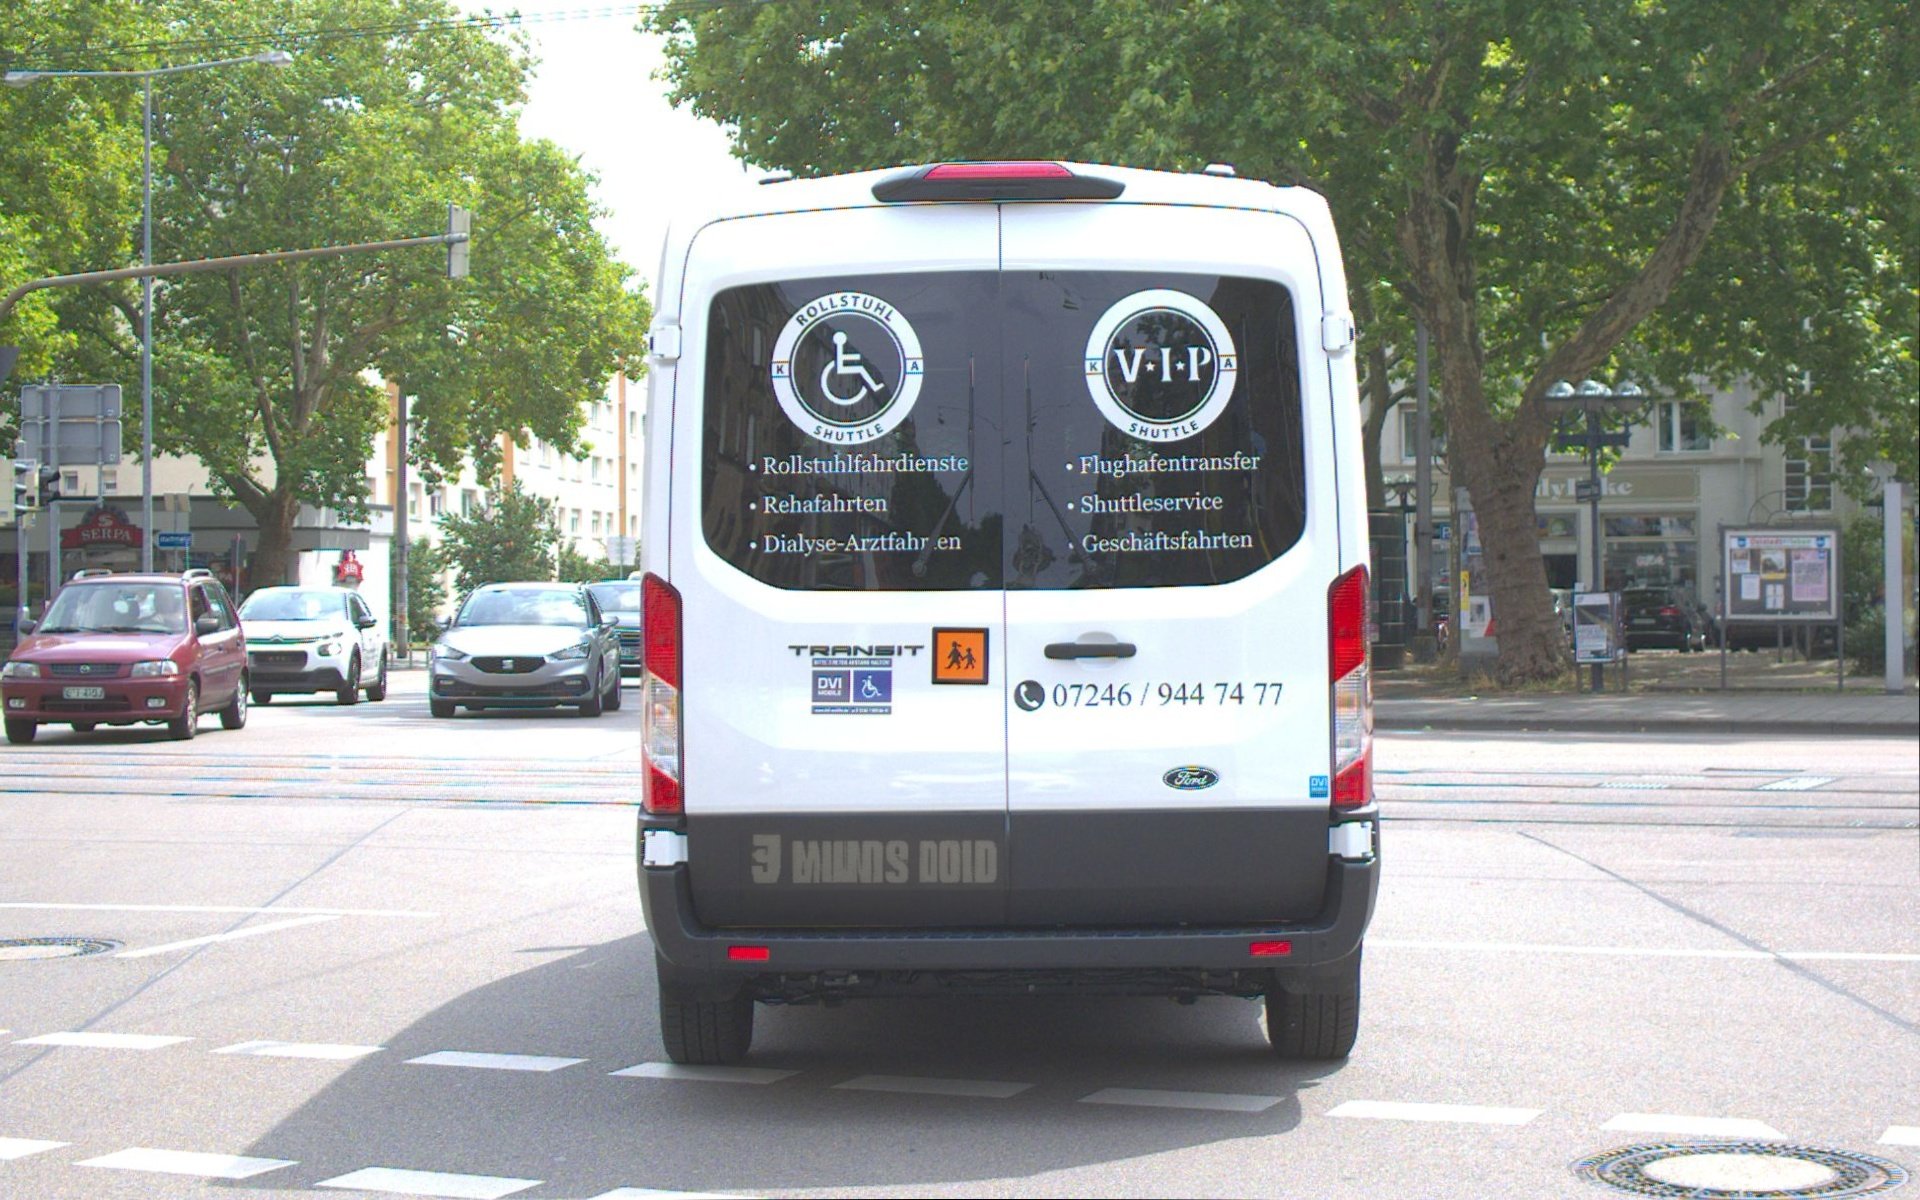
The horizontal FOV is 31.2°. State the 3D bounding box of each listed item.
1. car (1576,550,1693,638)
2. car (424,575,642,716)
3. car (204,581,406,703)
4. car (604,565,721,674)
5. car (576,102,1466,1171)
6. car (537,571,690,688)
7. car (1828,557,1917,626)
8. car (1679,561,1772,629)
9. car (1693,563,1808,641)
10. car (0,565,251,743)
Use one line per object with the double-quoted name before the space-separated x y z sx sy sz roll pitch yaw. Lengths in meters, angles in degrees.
"car" 15.181 -0.140 77.576 1.994 1.924 4.000 -1 0 3
"car" -4.565 0.450 37.265 1.832 1.422 4.121 -1 0 0
"car" -8.104 0.485 42.852 1.743 1.422 4.032 -1 0 0
"car" -5.490 0.333 63.985 1.743 1.924 4.854 -1 0 0
"car" 0.023 0.038 11.002 2.181 2.639 4.629 -2 1 -3
"car" -4.898 0.392 49.081 1.743 1.582 4.329 -1 0 0
"car" 22.813 -0.228 85.833 1.806 1.678 3.996 0 0 20
"car" 19.464 -0.133 87.344 1.806 1.678 3.996 0 0 20
"car" 17.690 0.028 77.041 1.805 1.678 4.000 -1 0 3
"car" -7.529 0.445 31.256 1.591 1.502 3.808 -1 0 -4
